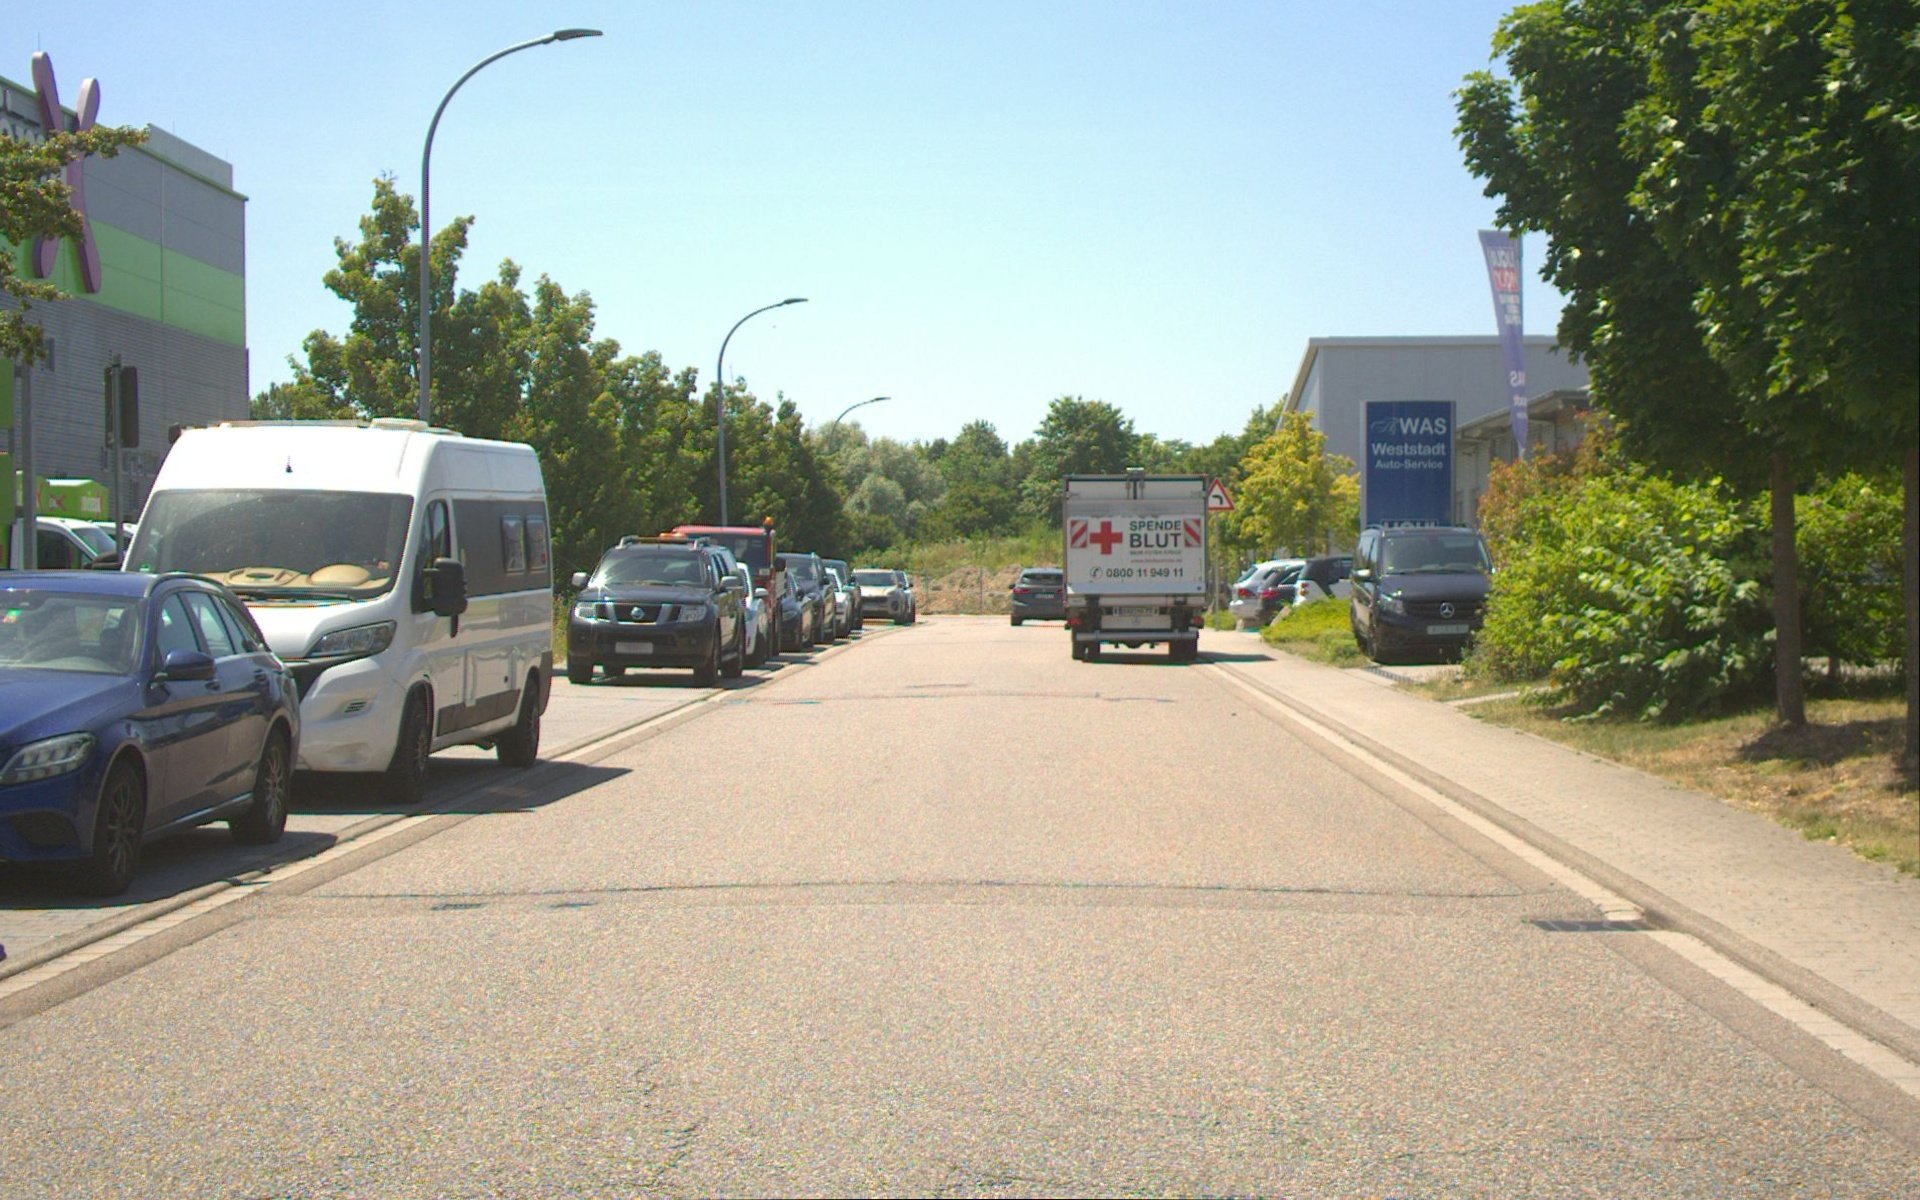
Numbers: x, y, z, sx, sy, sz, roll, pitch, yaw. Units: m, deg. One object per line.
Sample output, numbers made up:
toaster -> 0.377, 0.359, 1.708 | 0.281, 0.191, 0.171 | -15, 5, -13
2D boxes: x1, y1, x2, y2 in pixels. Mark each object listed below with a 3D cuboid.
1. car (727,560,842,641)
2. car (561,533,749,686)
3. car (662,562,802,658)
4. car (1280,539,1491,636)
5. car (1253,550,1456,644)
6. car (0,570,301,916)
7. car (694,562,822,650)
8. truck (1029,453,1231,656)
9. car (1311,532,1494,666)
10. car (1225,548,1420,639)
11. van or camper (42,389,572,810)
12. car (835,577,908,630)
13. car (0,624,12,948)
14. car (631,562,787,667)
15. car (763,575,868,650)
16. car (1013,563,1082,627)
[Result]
car -> -3.377, -0.012, 66.823 | 1.799, 1.482, 4.252 | 1, 1, 3
car -> -3.848, 0.085, 44.050 | 1.799, 1.842, 4.252 | 1, 1, 3
car -> -3.735, 0.137, 56.954 | 1.799, 1.482, 4.252 | 1, 1, 3
car -> 8.387, -0.240, 67.984 | 3.875, 1.744, 1.752 | 2, 0, -1
car -> 8.019, -0.061, 70.107 | 3.875, 1.744, 1.752 | 2, 0, -1
car -> -4.615, 0.606, 17.112 | 1.799, 1.444, 4.252 | 1, 1, 1
car -> -3.574, 0.072, 61.399 | 1.799, 1.482, 4.252 | 1, 1, 3
truck -> 2.665, -0.697, 55.197 | 2.933, 2.964, 6.419 | 2, 0, 2
car -> 6.204, -0.019, 48.590 | 1.993, 1.797, 4.140 | 0, 0, -1
car -> 7.657, -0.137, 72.819 | 3.875, 1.744, 1.752 | 2, 0, -1
van or camper -> -4.314, -0.009, 23.920 | 2.079, 2.474, 6.130 | 2, 0, 4
car -> -2.597, 0.073, 101.515 | 1.799, 1.482, 4.252 | 1, 1, 3
car -> -4.661, 0.737, 11.897 | 1.478, 1.293, 3.899 | 1, 0, 3
car -> -3.710, 0.183, 51.538 | 1.799, 1.482, 4.252 | 1, 1, 3
car -> -3.020, 0.239, 72.519 | 1.799, 1.482, 4.252 | 1, 1, 3
car -> 2.369, -0.133, 93.346 | 1.789, 1.618, 3.809 | 2, 0, 1
